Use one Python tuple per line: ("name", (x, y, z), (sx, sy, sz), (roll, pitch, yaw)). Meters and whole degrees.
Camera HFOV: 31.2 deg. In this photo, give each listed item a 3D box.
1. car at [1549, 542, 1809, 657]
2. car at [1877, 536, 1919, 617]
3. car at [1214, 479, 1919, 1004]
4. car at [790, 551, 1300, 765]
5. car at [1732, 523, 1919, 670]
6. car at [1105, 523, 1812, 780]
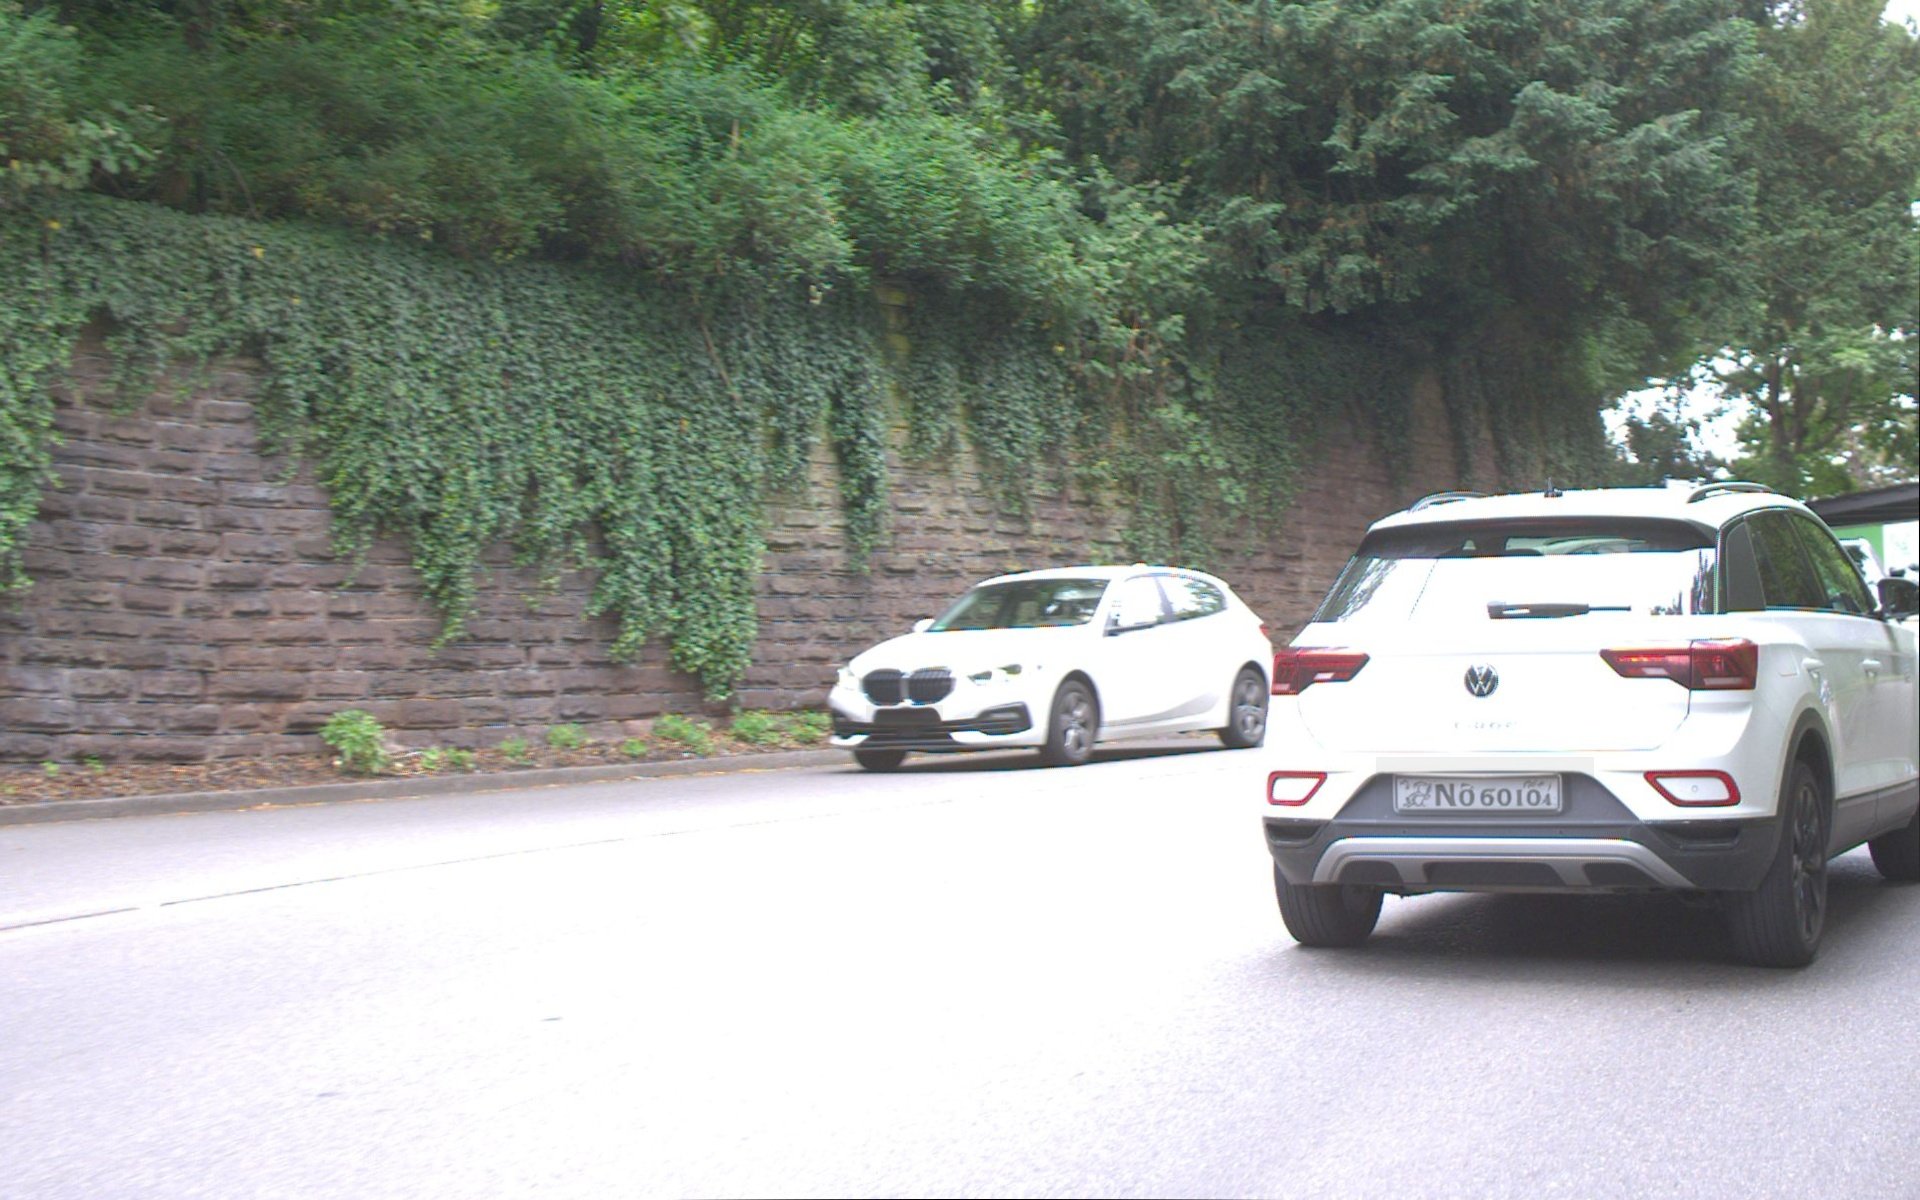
("car", (11.615, 0.025, 55.881), (1.862, 1.592, 4.630), (-3, -1, -21))
("car", (17.967, -0.351, 60.655), (1.628, 1.415, 3.856), (3, 1, -16))
("car", (2.534, 0.345, 12.660), (1.757, 1.547, 4.332), (2, 3, 25))
("car", (0.733, 0.389, 25.709), (1.749, 1.411, 4.321), (-4, -1, 33))
("car", (11.302, -0.071, 41.536), (1.854, 1.643, 4.500), (-3, -1, 41))
("car", (3.365, 0.302, 22.649), (4.762, 1.529, 1.870), (-1, -1, -39))
